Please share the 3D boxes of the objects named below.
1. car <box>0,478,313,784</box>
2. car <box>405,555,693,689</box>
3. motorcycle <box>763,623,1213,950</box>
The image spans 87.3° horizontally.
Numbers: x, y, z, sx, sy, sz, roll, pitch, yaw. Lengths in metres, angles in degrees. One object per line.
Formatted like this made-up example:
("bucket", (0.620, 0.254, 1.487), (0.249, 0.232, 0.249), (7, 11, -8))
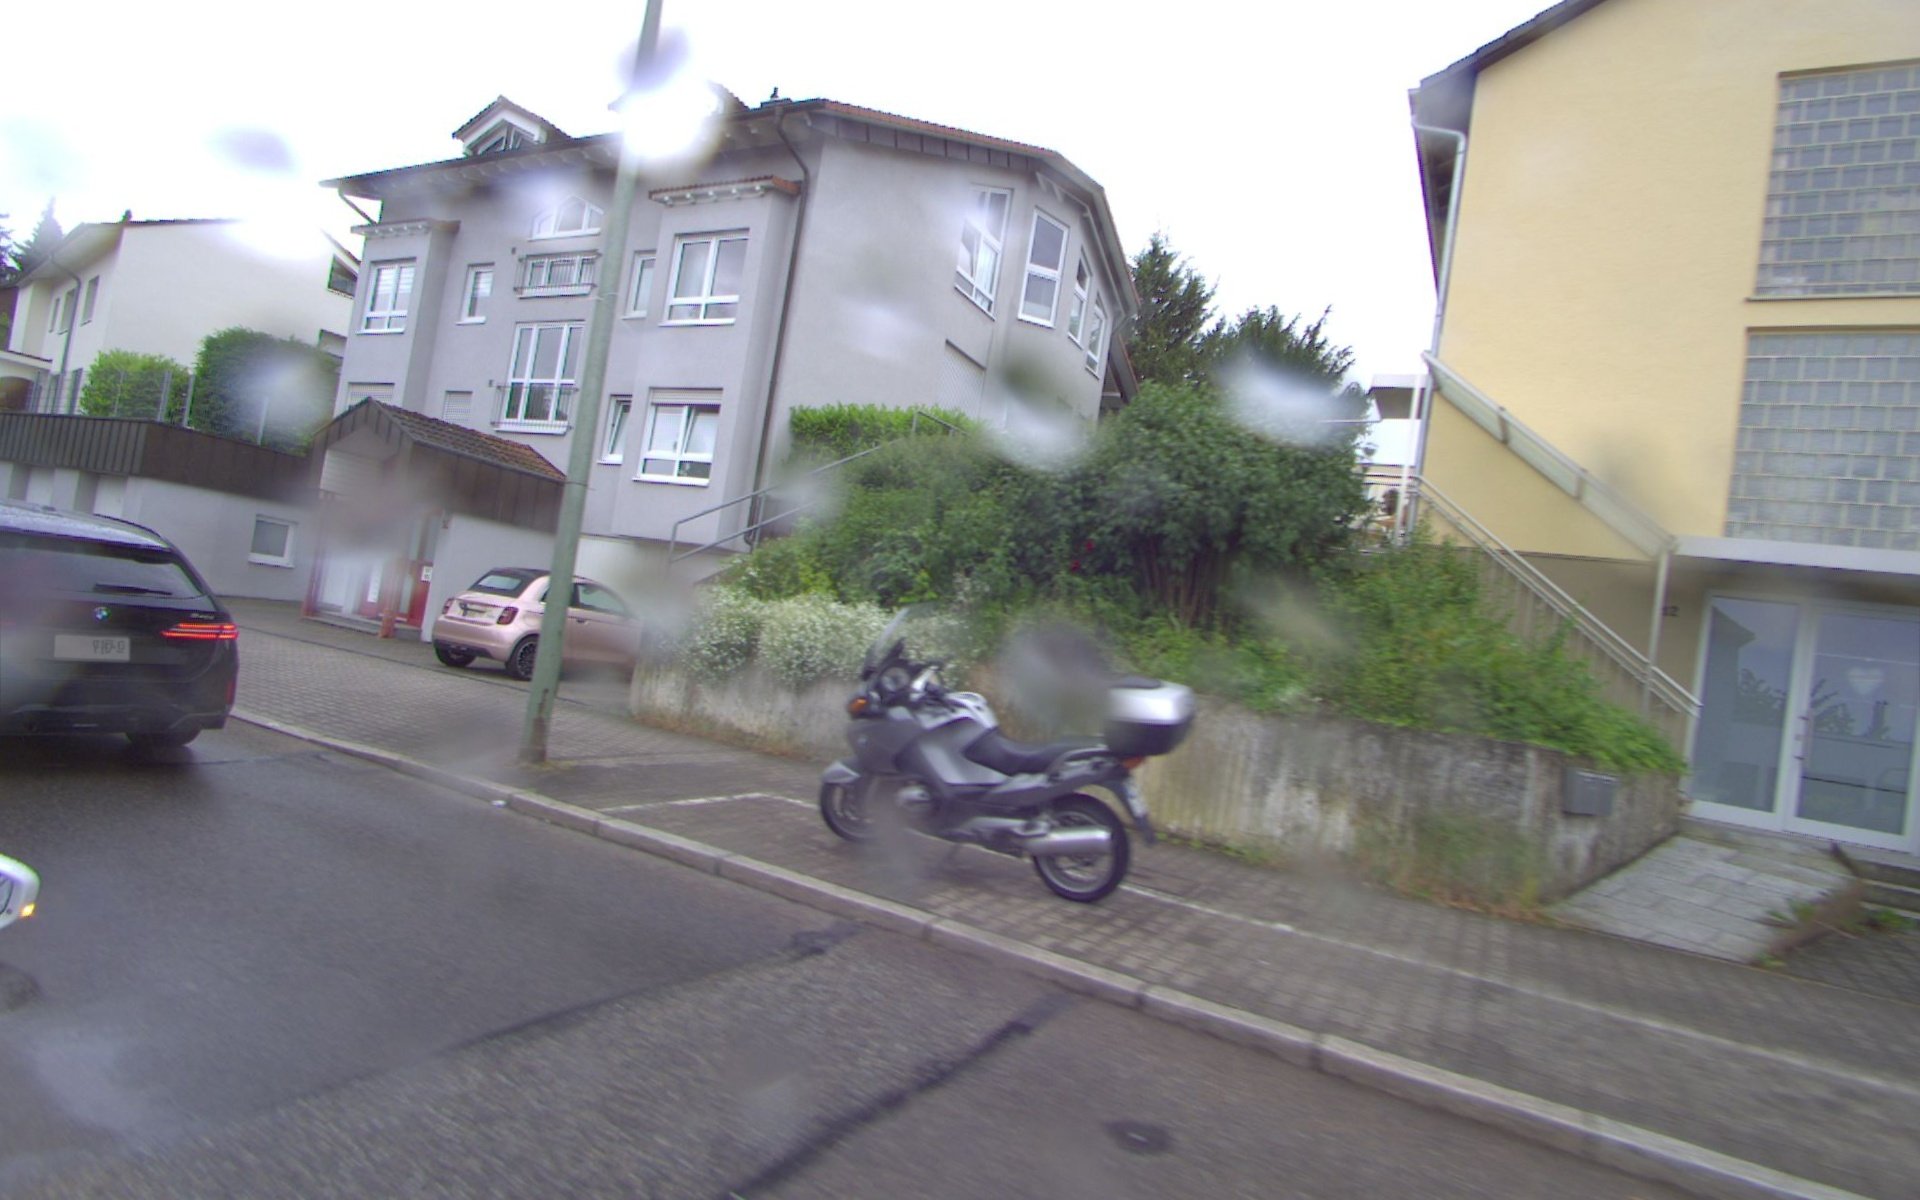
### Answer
("car", (-6.806, 0.032, 6.848), (4.584, 1.603, 2.000), (6, -4, 30))
("car", (-6.019, 0.408, 15.176), (1.780, 1.501, 3.645), (7, -3, 25))
("motorcycle", (0.101, 0.969, 5.877), (2.436, 1.340, 0.694), (7, -1, 29))
